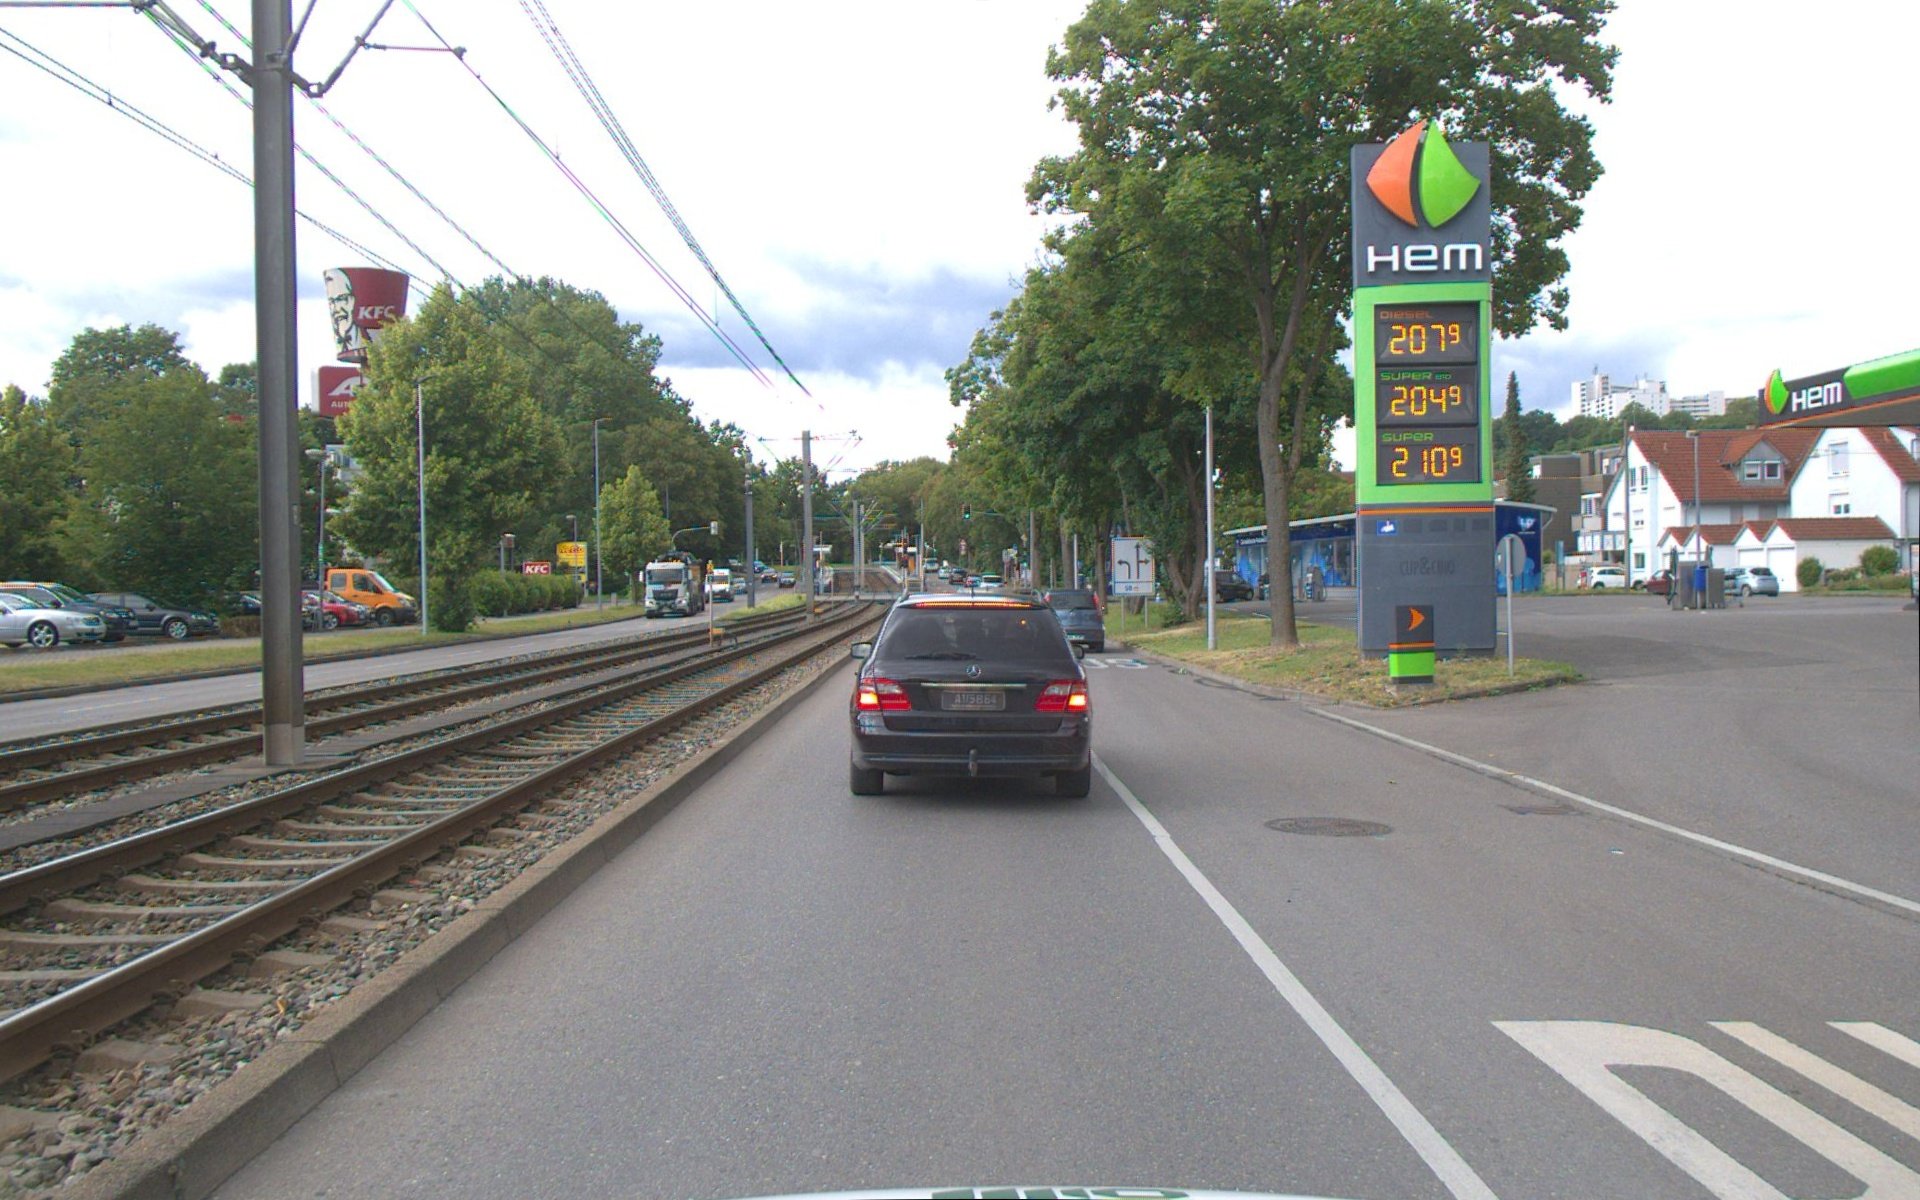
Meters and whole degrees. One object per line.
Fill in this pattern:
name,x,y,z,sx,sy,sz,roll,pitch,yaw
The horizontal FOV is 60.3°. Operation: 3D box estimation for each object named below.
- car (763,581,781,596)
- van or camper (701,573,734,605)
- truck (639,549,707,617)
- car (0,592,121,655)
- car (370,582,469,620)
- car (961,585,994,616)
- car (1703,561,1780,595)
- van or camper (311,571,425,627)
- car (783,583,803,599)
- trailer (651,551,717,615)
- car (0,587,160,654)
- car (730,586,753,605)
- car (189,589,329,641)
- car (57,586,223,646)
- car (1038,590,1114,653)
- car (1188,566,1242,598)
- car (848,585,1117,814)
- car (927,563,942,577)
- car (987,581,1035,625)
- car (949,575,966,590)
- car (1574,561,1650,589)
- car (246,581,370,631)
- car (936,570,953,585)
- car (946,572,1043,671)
car,-22.661,-1.385,199.241,1.729,1.676,3.770,1,0,-1
van or camper,-18.871,-0.861,128.876,1.954,2.395,5.763,-1,1,-3
truck,-16.835,-0.996,97.748,2.653,3.727,11.104,-1,1,-4
car,-23.507,0.596,41.284,4.221,1.497,1.679,-1,1,-3
car,-24.512,0.034,75.046,3.909,1.627,1.795,-1,1,-5
car,1.051,0.043,102.522,1.953,1.870,3.999,1,0,-1
car,39.072,-1.094,82.738,1.506,1.627,3.725,1,0,-13
van or camper,-23.718,-0.039,66.373,3.909,2.172,1.876,0,0,-5
car,-17.337,-0.953,172.162,1.729,1.676,3.770,1,0,-1
trailer,-17.224,-1.058,103.993,2.651,3.724,13.289,-1,1,-4
car,-23.681,0.524,43.943,3.909,1.663,1.876,-1,1,-5
car,-20.259,-0.414,153.422,1.729,1.676,3.770,1,0,-1
car,-23.687,0.487,55.987,3.909,1.627,1.876,-1,1,-5
car,-24.025,0.457,48.587,3.909,1.627,1.876,-1,1,-5
car,2.769,0.492,40.133,1.539,1.439,3.354,1,0,-1
car,14.597,-1.048,94.462,1.965,1.712,4.578,-1,1,23
car,0.129,0.647,12.898,1.771,1.500,3.880,0,1,-1
car,-3.390,-3.975,220.678,1.953,1.870,3.999,1,0,-1
car,1.705,0.093,55.836,1.436,1.439,3.354,1,0,-1
car,-0.272,-1.854,176.307,1.634,1.559,3.768,1,0,-4
car,41.014,-1.551,104.078,4.132,1.713,1.776,1,0,-3
car,-24.120,0.215,61.295,3.909,1.829,1.876,0,0,-5
car,-1.867,-2.699,198.024,1.953,1.744,4.000,-1,1,-1
car,0.617,0.390,32.259,1.744,1.781,3.717,1,0,-1
